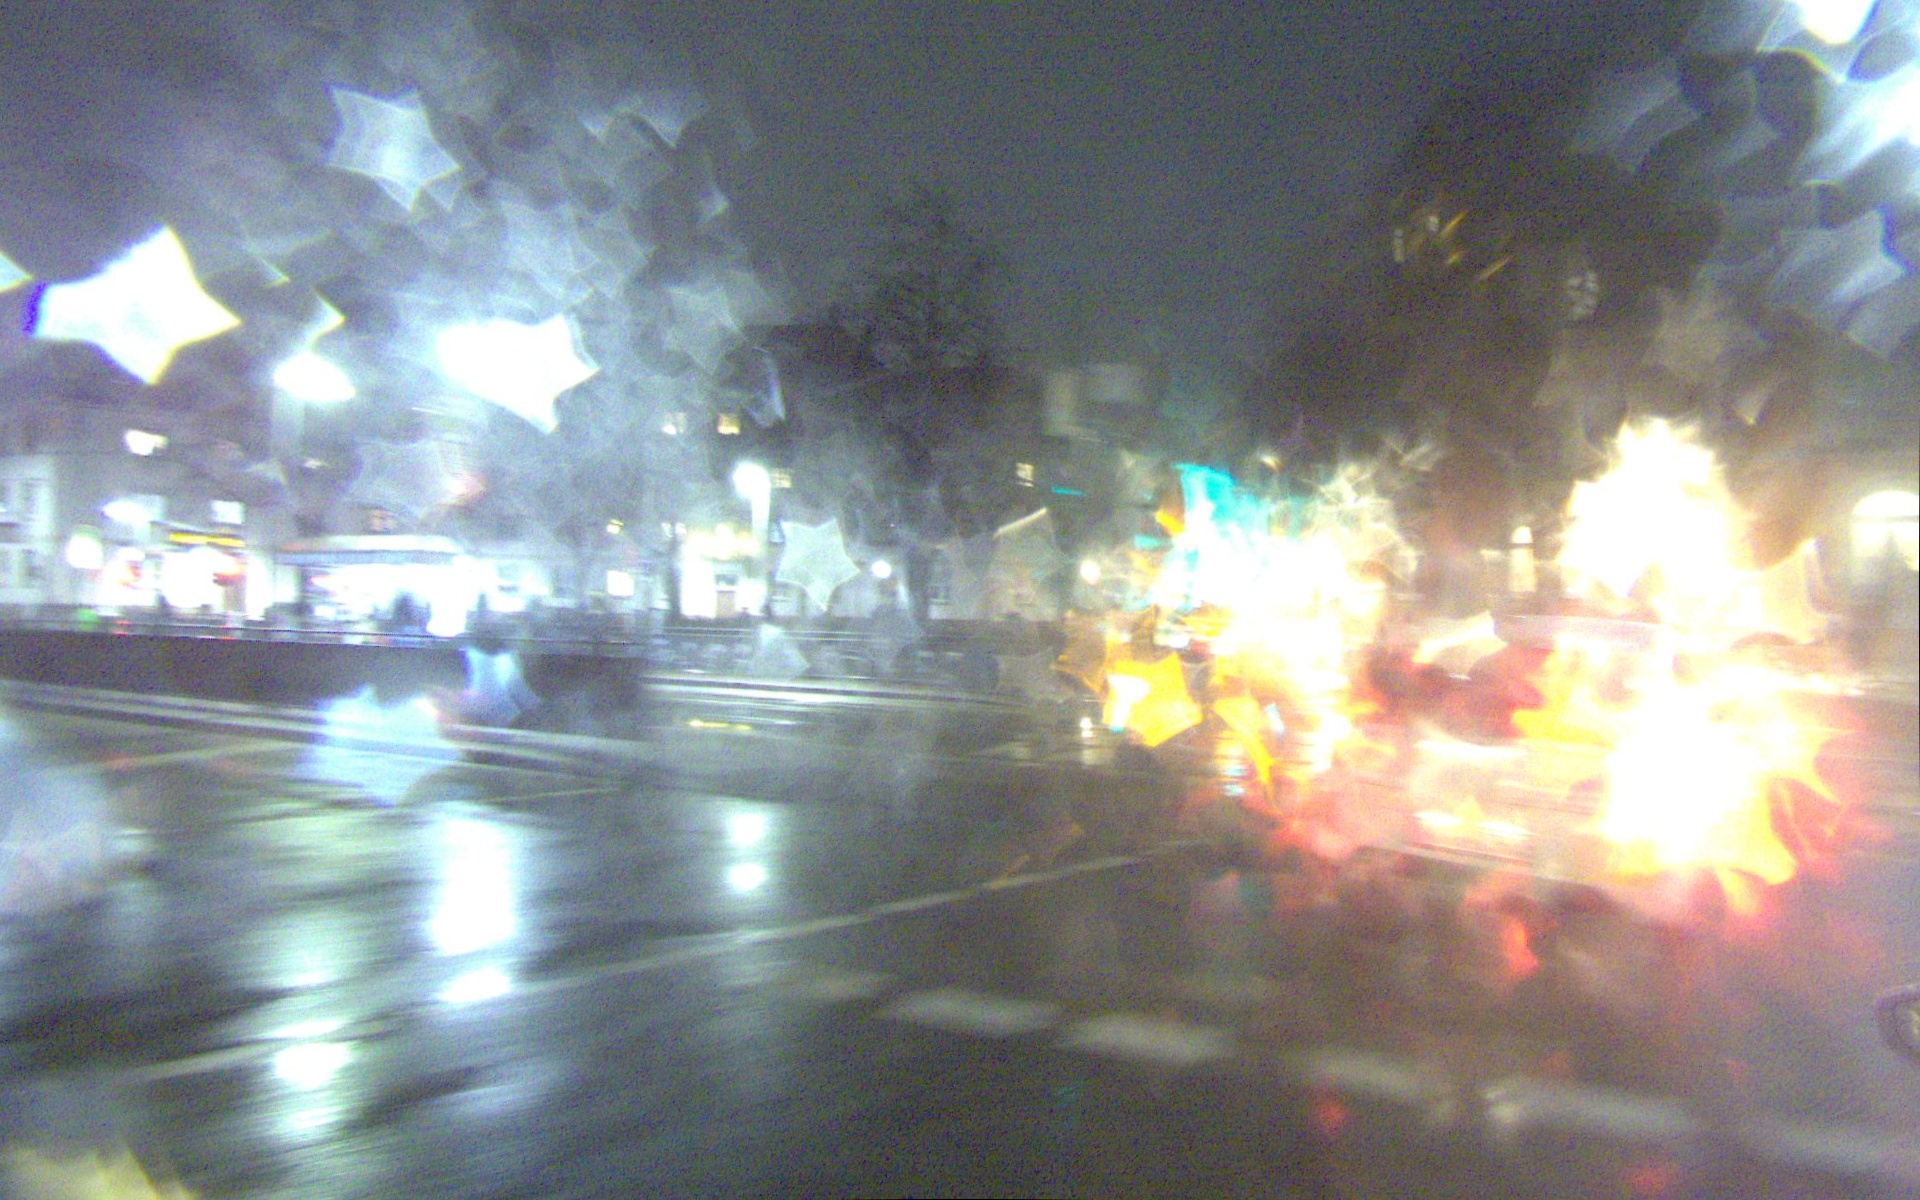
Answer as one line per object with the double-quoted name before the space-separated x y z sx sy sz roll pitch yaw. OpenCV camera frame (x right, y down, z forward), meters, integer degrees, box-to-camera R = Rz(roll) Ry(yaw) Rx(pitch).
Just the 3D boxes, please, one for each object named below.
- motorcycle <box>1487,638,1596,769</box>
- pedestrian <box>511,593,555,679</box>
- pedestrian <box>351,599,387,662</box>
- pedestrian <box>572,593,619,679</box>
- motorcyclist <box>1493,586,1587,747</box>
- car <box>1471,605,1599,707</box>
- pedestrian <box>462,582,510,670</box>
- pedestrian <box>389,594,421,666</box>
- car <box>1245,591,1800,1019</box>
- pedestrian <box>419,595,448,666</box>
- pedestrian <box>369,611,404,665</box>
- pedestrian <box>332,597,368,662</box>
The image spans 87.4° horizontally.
"motorcycle" 6.514 1.092 11.370 0.777 1.229 2.249 2 1 24
"pedestrian" -9.144 0.749 21.507 0.711 1.798 0.663 -1 2 -39
"pedestrian" -14.666 0.749 24.925 0.574 1.549 0.480 1 2 9
"pedestrian" -7.860 0.752 21.672 0.703 1.798 0.671 1 2 16
"motorcyclist" 6.531 0.718 11.358 0.777 1.717 0.819 2 1 24
"car" 11.502 1.023 19.989 1.726 1.763 3.785 2 1 37
"pedestrian" -11.095 0.586 23.504 0.842 2.013 0.609 1 2 23
"pedestrian" -13.176 0.704 23.862 0.551 1.674 0.583 0 2 -17
"car" 3.320 0.773 5.604 1.898 1.536 3.577 1 0 43
"pedestrian" -12.508 0.718 23.866 0.524 1.651 0.398 0 2 -17
"pedestrian" -13.878 0.902 24.313 0.614 1.270 0.583 0 2 -17
"pedestrian" -15.228 0.727 25.074 0.563 1.568 0.512 1 2 9
